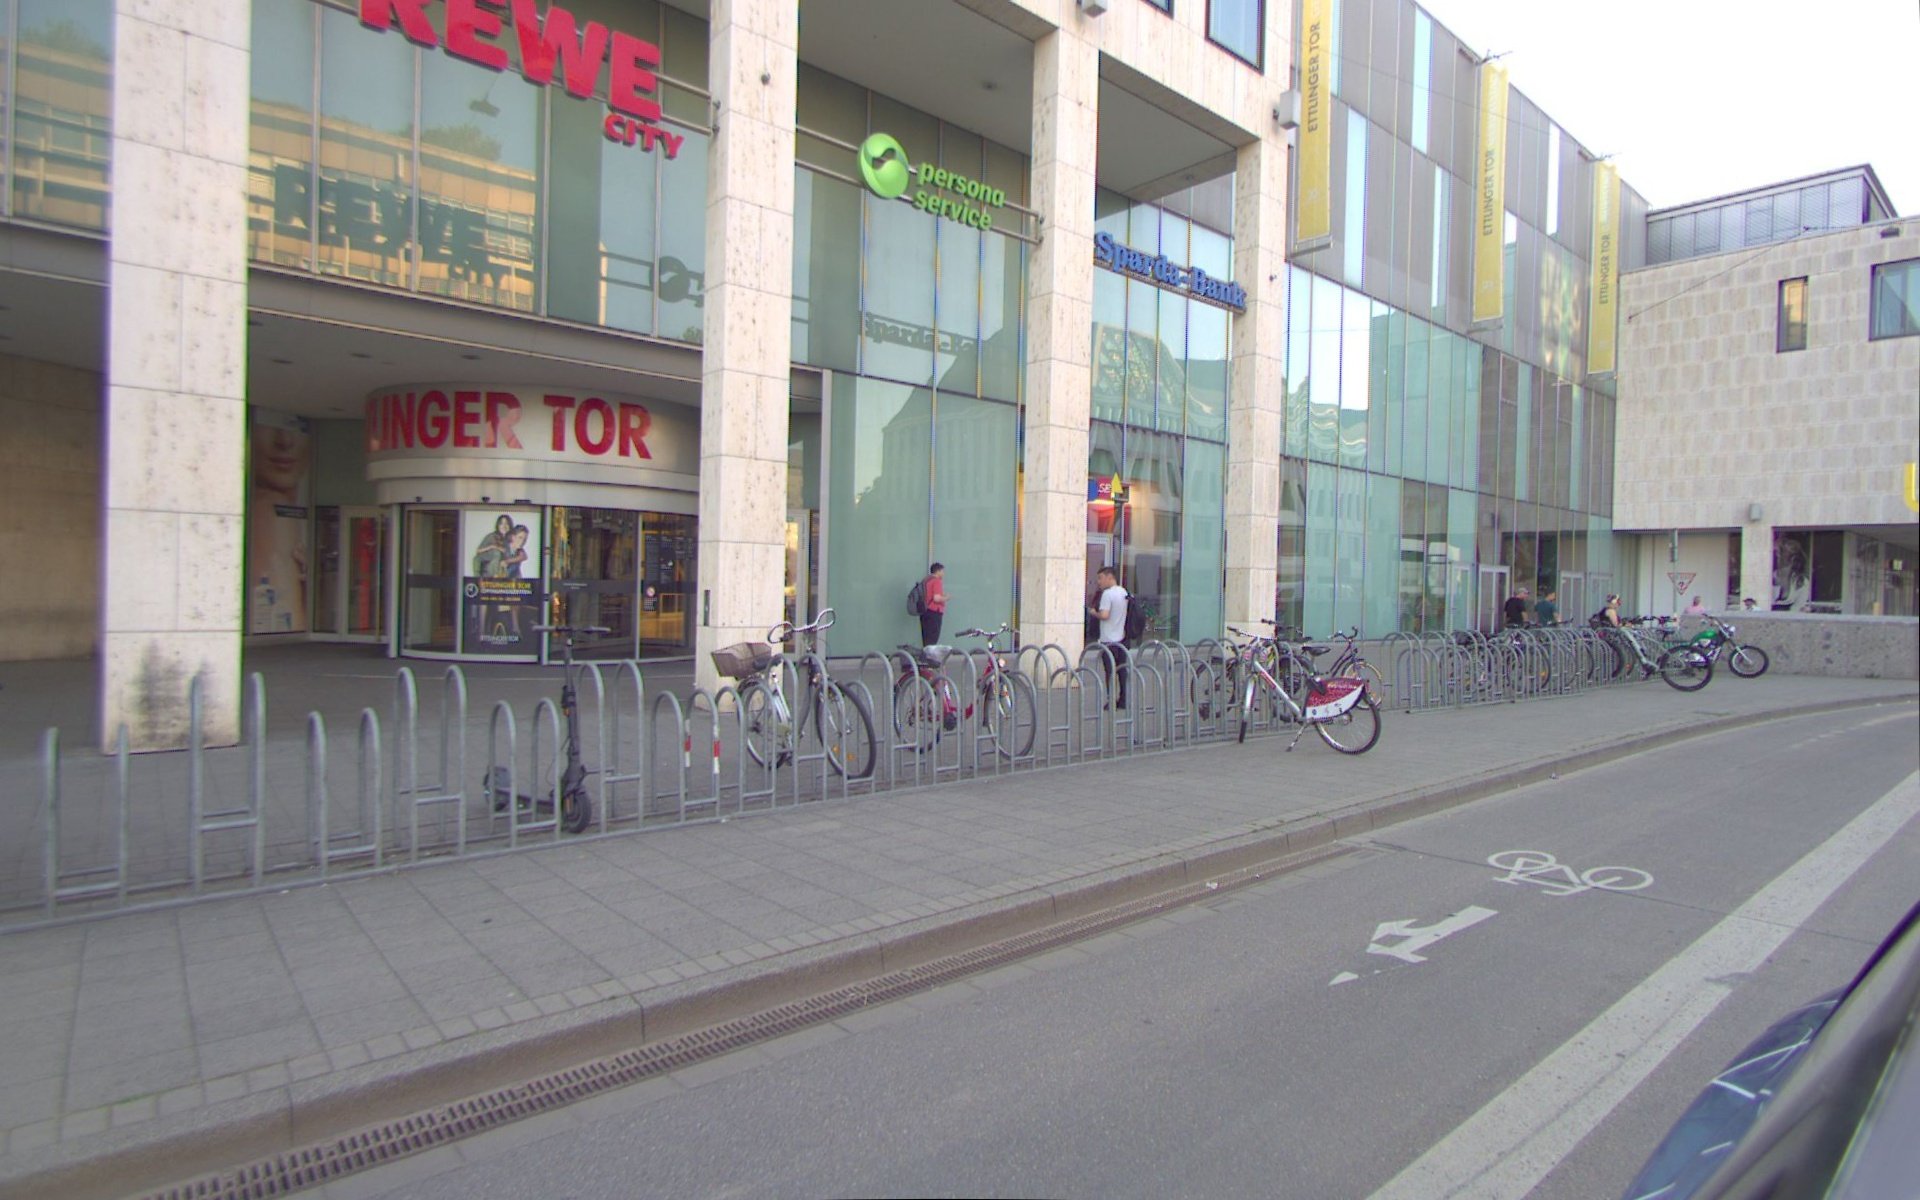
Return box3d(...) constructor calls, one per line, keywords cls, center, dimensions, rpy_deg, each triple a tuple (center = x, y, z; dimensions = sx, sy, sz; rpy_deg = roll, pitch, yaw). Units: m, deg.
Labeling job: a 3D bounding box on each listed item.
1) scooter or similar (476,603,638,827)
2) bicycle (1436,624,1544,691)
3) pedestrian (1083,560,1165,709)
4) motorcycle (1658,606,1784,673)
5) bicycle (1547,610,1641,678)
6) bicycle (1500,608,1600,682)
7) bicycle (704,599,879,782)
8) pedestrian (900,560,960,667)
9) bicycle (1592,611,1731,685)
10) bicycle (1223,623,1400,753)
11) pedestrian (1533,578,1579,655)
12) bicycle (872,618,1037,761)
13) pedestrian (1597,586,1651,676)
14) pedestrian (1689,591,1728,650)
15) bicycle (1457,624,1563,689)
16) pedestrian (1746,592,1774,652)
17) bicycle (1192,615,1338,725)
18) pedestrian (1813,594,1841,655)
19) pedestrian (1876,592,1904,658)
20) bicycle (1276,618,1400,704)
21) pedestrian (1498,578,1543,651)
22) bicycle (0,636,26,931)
box3d(cls="scooter or similar", center=(-2.519, 0.650, 6.272), dimensions=(0.484, 1.214, 1.194), rpy_deg=(1, 1, -44))
box3d(cls="bicycle", center=(7.944, 0.841, 15.204), dimensions=(0.509, 0.944, 1.344), rpy_deg=(1, -2, -41))
box3d(cls="pedestrian", center=(1.961, 0.389, 12.129), dimensions=(0.618, 1.713, 0.707), rpy_deg=(1, 1, -40))
box3d(cls="motorcycle", center=(15.579, 0.789, 20.763), dimensions=(0.472, 1.239, 2.004), rpy_deg=(1, 1, -43))
box3d(cls="bicycle", center=(11.394, 0.768, 18.217), dimensions=(0.509, 1.179, 1.344), rpy_deg=(1, -2, -41))
box3d(cls="bicycle", center=(9.831, 0.735, 16.892), dimensions=(0.509, 1.179, 1.344), rpy_deg=(1, -2, -41))
box3d(cls="bicycle", center=(-1.307, 0.624, 7.664), dimensions=(0.607, 1.243, 1.517), rpy_deg=(1, -2, -41))
box3d(cls="pedestrian", center=(-0.485, 0.208, 16.236), dimensions=(0.695, 1.672, 0.629), rpy_deg=(1, 1, -40))
box3d(cls="bicycle", center=(11.565, 0.772, 16.742), dimensions=(0.458, 1.161, 1.837), rpy_deg=(1, -2, -39))
box3d(cls="bicycle", center=(3.170, 0.759, 9.245), dimensions=(0.458, 1.077, 1.518), rpy_deg=(1, -2, -39))
box3d(cls="pedestrian", center=(13.724, 0.372, 23.302), dimensions=(0.696, 1.717, 0.807), rpy_deg=(2, 1, 44))
box3d(cls="bicycle", center=(-0.075, 0.712, 8.667), dimensions=(0.543, 1.120, 1.516), rpy_deg=(1, -2, -43))
box3d(cls="pedestrian", center=(12.759, 0.581, 19.471), dimensions=(0.802, 1.663, 0.640), rpy_deg=(2, 1, 31))
box3d(cls="pedestrian", center=(23.208, 0.621, 31.398), dimensions=(0.644, 1.765, 0.794), rpy_deg=(1, 1, -38))
box3d(cls="bicycle", center=(8.455, 0.853, 15.582), dimensions=(0.509, 0.944, 1.344), rpy_deg=(1, -2, -41))
box3d(cls="pedestrian", center=(24.157, 0.651, 30.564), dimensions=(0.644, 1.765, 0.494), rpy_deg=(1, 1, -38))
box3d(cls="bicycle", center=(3.378, 0.740, 11.307), dimensions=(0.569, 1.138, 1.519), rpy_deg=(1, -2, -36))
box3d(cls="pedestrian", center=(25.724, 0.710, 30.014), dimensions=(0.483, 1.765, 0.504), rpy_deg=(1, 1, -38))
box3d(cls="pedestrian", center=(25.566, 0.683, 27.812), dimensions=(0.483, 1.765, 0.455), rpy_deg=(1, 1, -38))
box3d(cls="bicycle", center=(5.012, 0.779, 13.447), dimensions=(1.439, 1.078, 0.572), rpy_deg=(-1, -2, 39))
box3d(cls="pedestrian", center=(13.236, 0.333, 23.896), dimensions=(0.738, 1.668, 0.808), rpy_deg=(2, 1, 41))
box3d(cls="bicycle", center=(-4.555, 0.731, 4.474), dimensions=(1.768, 1.092, 0.475), rpy_deg=(3, 1, 43))
